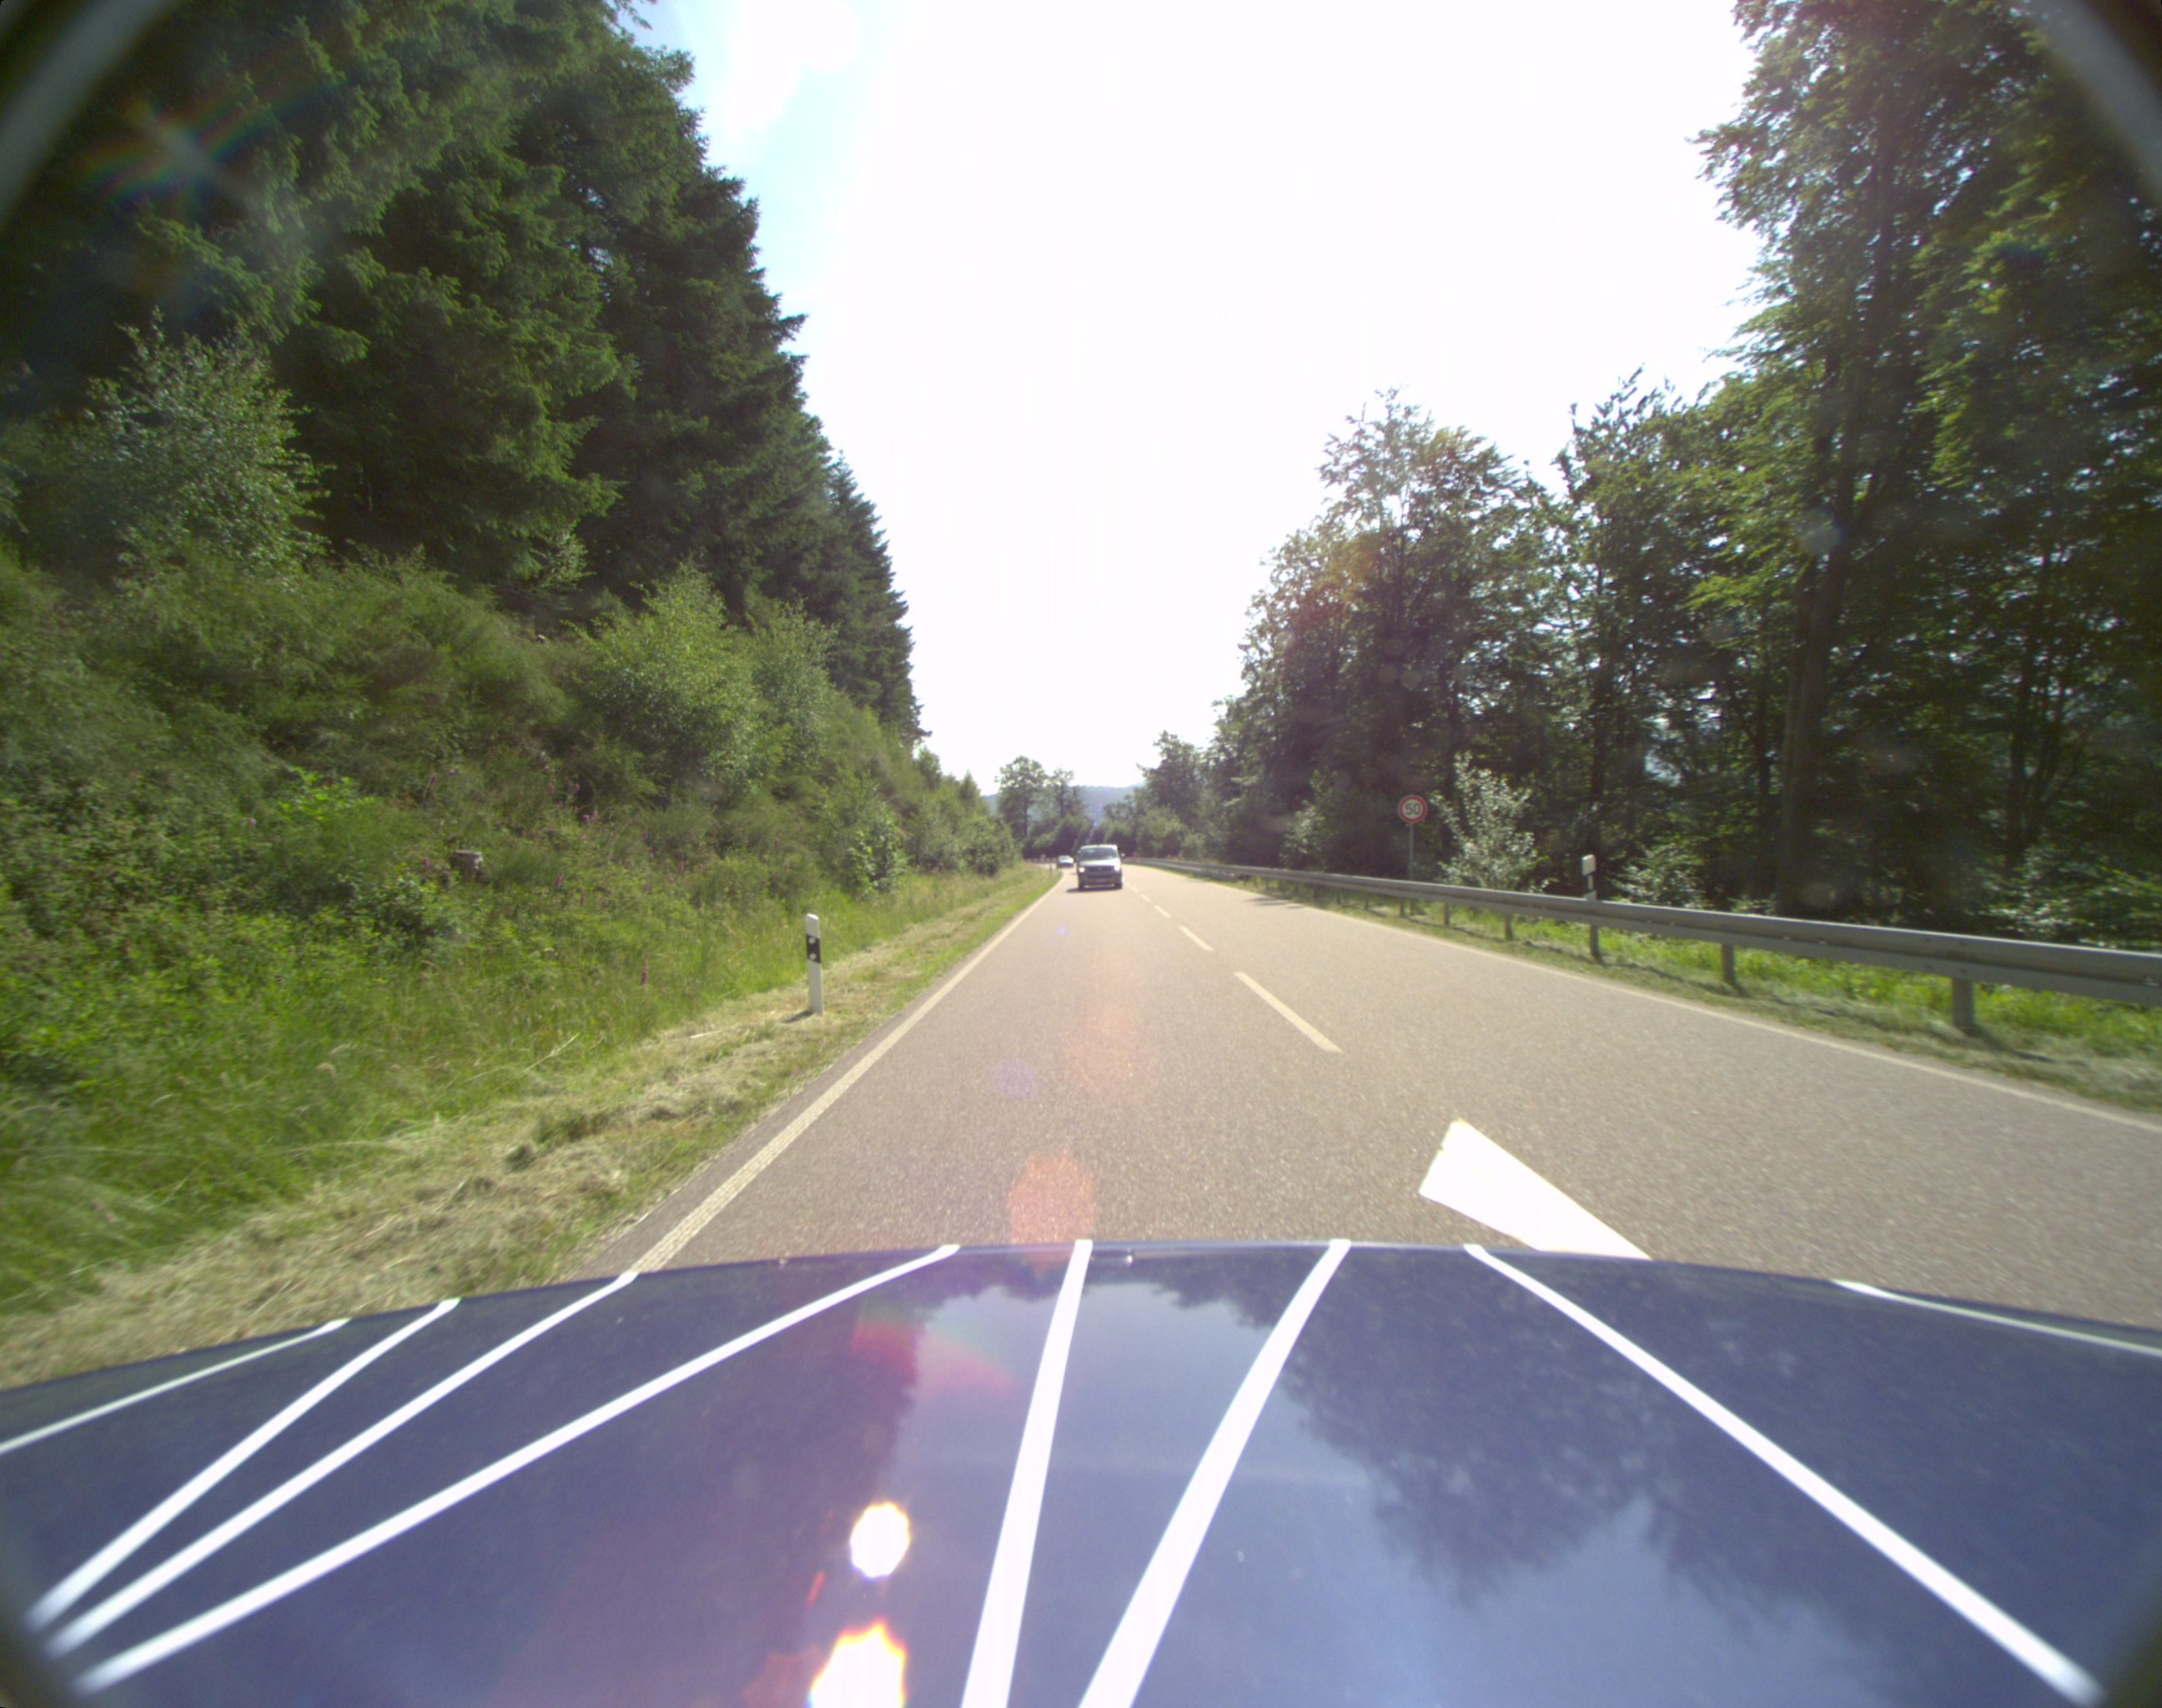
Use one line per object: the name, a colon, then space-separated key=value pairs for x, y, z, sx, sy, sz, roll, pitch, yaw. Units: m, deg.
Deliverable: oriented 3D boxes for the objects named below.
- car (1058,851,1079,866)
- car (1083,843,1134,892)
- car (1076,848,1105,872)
car: x=-1.526 y=0.509 z=90.999 sx=2.000 sy=1.718 sz=3.997 roll=-2 pitch=1 yaw=-8
car: x=1.163 y=0.543 z=33.804 sx=1.990 sy=1.899 sz=4.760 roll=-4 pitch=0 yaw=1
car: x=0.740 y=0.464 z=63.351 sx=2.137 sy=1.825 sz=4.721 roll=-3 pitch=1 yaw=-1
